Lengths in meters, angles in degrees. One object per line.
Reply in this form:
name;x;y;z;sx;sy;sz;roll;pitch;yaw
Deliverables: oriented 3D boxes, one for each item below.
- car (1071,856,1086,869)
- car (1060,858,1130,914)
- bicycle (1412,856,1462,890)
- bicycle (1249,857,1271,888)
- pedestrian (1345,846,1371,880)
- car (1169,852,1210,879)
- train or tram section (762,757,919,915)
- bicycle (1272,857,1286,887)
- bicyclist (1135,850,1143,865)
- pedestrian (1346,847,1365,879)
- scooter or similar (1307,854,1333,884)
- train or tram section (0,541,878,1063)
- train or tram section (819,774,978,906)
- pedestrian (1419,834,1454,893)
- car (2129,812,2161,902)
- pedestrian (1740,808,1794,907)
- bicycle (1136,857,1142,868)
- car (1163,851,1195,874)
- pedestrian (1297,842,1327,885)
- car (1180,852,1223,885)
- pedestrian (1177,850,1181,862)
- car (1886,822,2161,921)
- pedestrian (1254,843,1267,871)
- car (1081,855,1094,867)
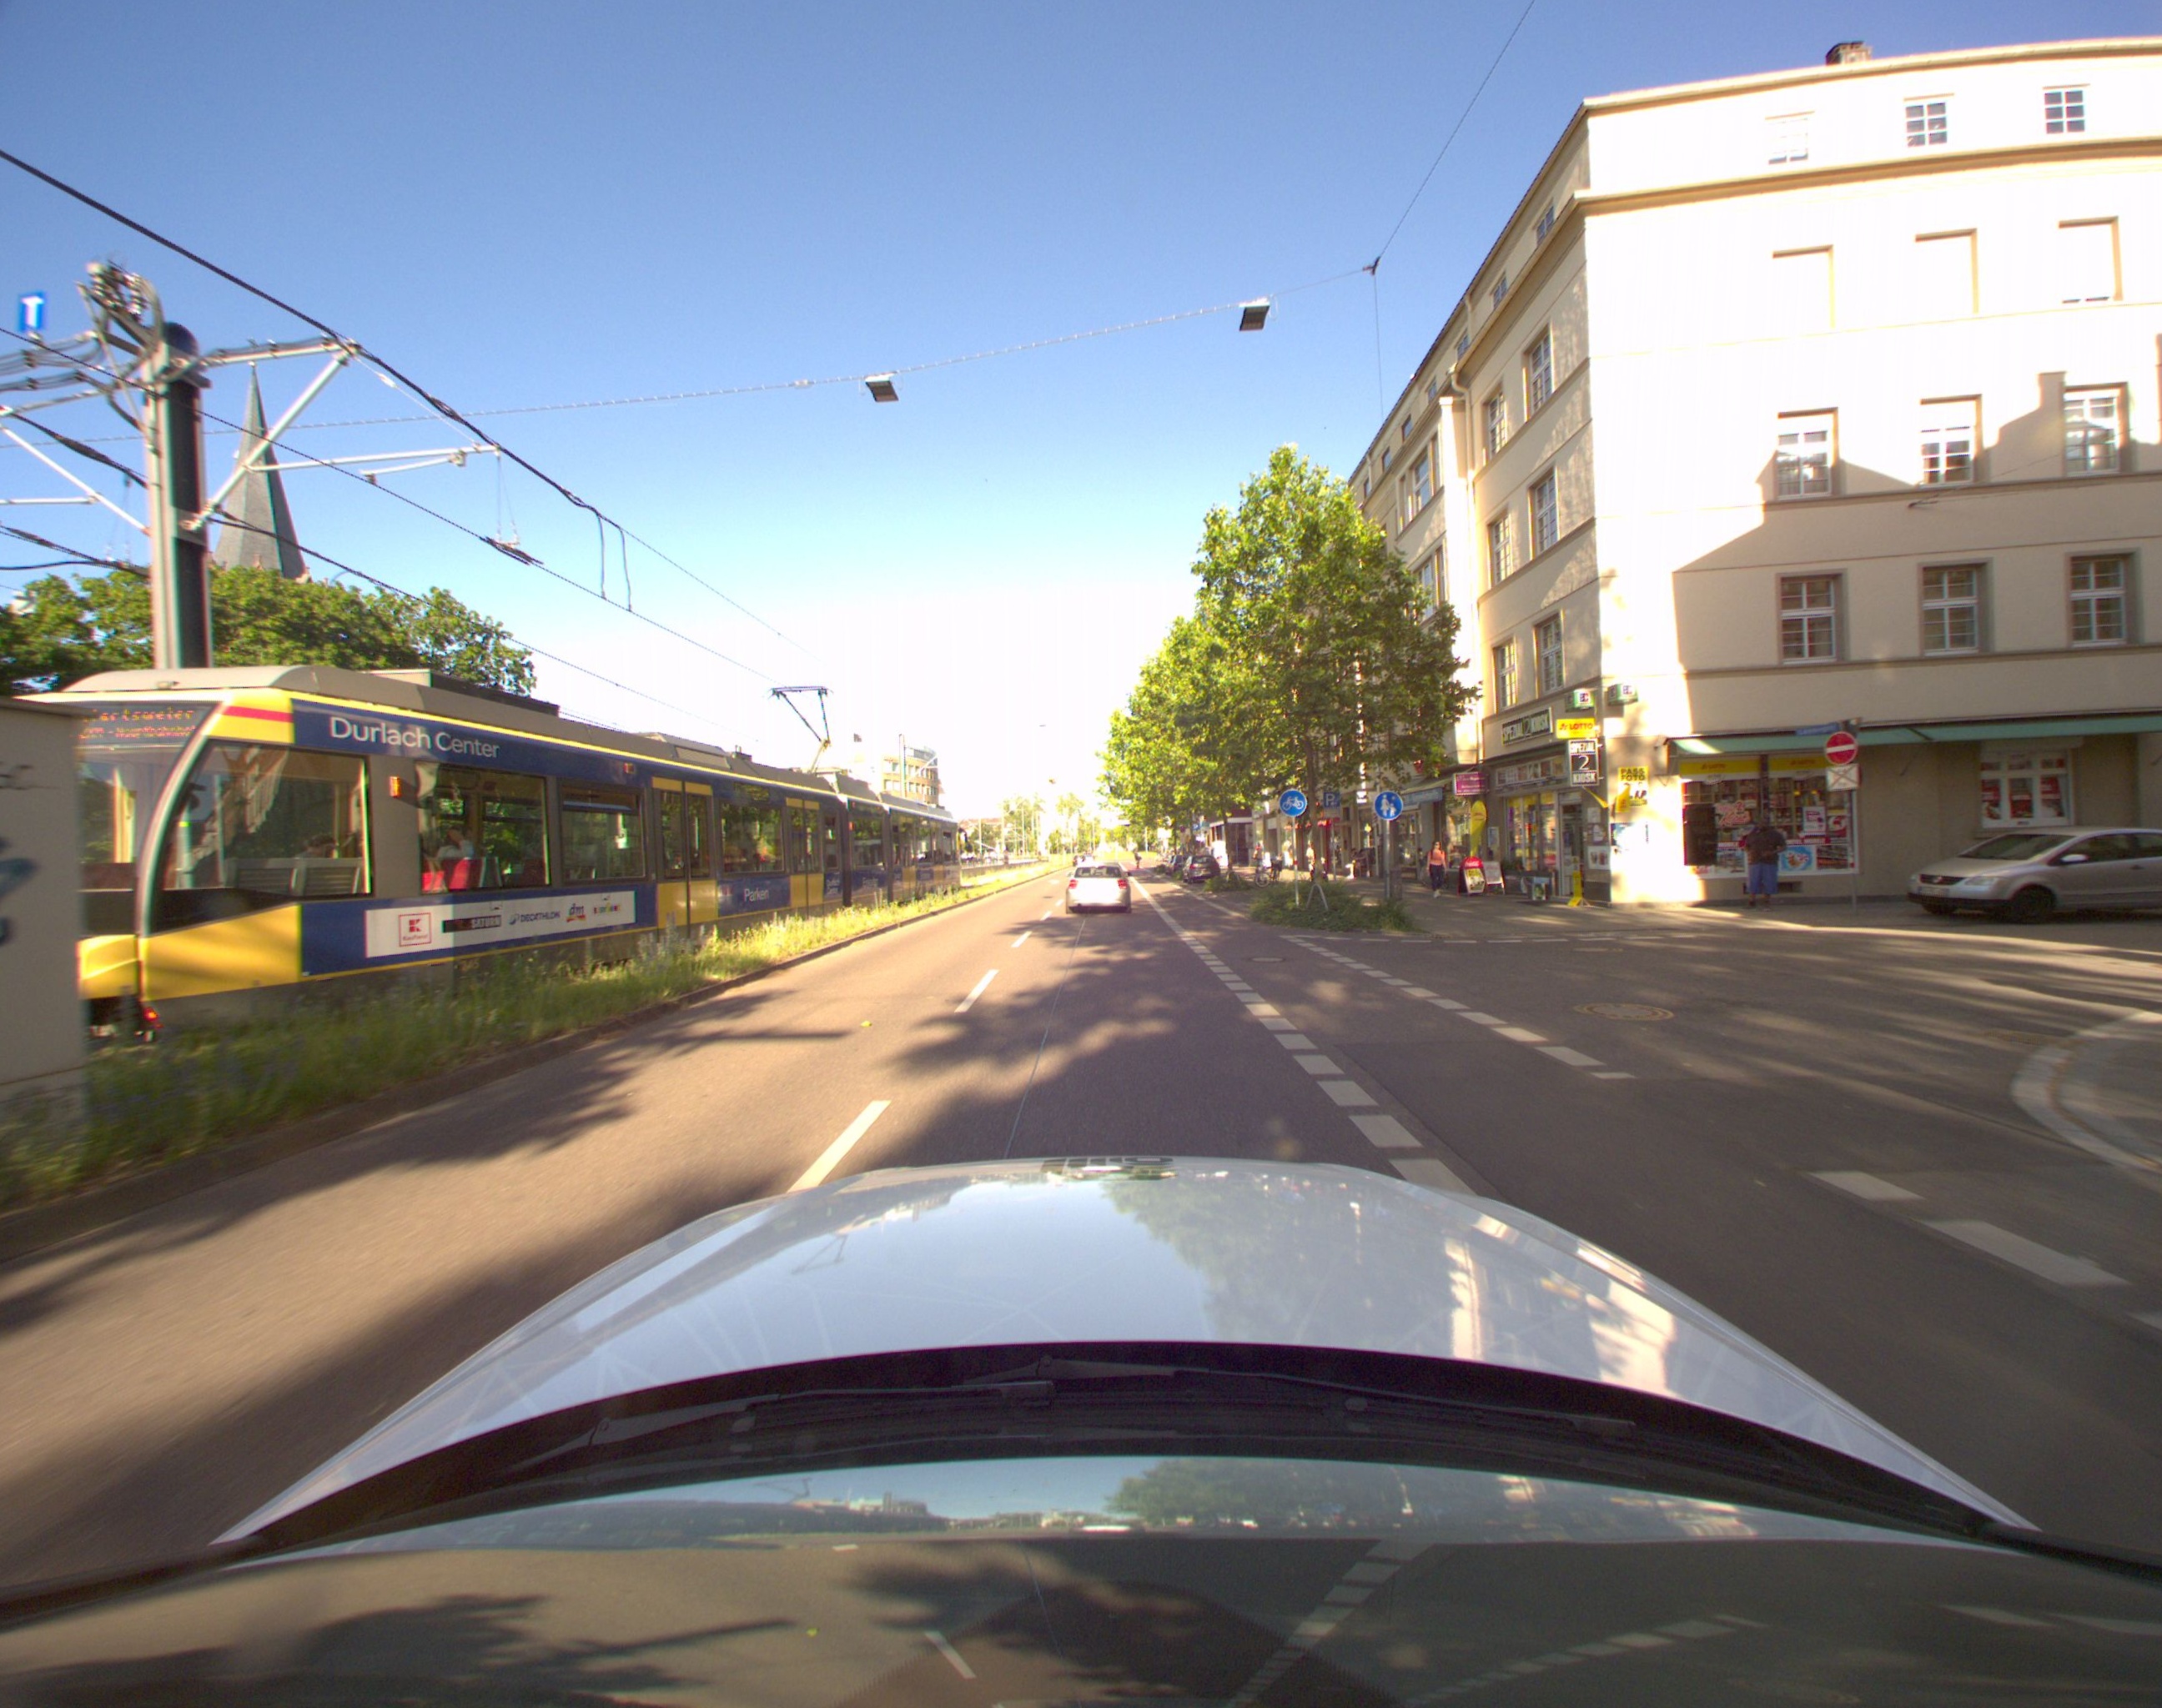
car;-0.334;1.014;98.519;1.721;1.470;4.409;-2;0;0
car;0.431;0.834;23.245;1.791;1.415;4.001;-1;0;2
bicycle;11.503;0.585;26.388;0.488;1.024;2.624;-4;0;2
bicycle;7.483;0.774;34.034;0.391;1.215;1.901;-3;-2;-2
pedestrian;11.820;0.379;34.777;0.782;1.369;0.857;-3;-1;2
car;6.610;0.666;50.193;2.031;1.509;4.596;-2;0;2
train or tram section;-6.382;-0.436;22.203;2.942;3.897;3.869;0;0;3
bicycle;8.333;0.749;34.246;0.382;1.207;1.882;-2;0;20
bicyclist;5.758;0.344;80.555;0.782;1.531;0.895;0;-1;2
pedestrian;12.004;0.387;35.656;0.533;1.332;0.821;-3;-1;2
scooter or similar;9.558;0.596;32.589;0.742;1.171;0.849;-3;0;-1
train or tram section;-7.061;-0.347;13.158;2.915;3.812;14.291;0;0;5
train or tram section;-6.102;-0.402;29.573;2.941;3.897;10.807;0;0;2
pedestrian;9.997;0.273;22.930;0.680;1.621;0.562;-2;-1;-1
car;21.127;-0.026;13.838;3.967;1.596;1.847;-2;0;5
pedestrian;13.544;0.070;16.097;0.551;1.903;0.586;0;-1;-9
bicycle;5.736;0.852;80.531;0.497;1.088;1.998;0;0;2
car;6.866;0.575;57.419;1.782;1.555;4.438;-2;0;2
pedestrian;9.515;0.391;33.568;0.856;1.704;0.916;-3;-1;-1
car;6.262;0.713;42.605;1.688;1.502;3.803;-4;0;2
pedestrian;17.241;0.363;143.152;0.786;2.014;0.872;0;-1;9
car;16.687;0.277;13.964;3.920;1.474;1.668;-2;0;5
pedestrian;11.127;0.173;50.470;0.556;1.711;0.770;-2;0;2
car;0.884;0.921;106.583;1.638;1.421;4.002;-1;0;2
